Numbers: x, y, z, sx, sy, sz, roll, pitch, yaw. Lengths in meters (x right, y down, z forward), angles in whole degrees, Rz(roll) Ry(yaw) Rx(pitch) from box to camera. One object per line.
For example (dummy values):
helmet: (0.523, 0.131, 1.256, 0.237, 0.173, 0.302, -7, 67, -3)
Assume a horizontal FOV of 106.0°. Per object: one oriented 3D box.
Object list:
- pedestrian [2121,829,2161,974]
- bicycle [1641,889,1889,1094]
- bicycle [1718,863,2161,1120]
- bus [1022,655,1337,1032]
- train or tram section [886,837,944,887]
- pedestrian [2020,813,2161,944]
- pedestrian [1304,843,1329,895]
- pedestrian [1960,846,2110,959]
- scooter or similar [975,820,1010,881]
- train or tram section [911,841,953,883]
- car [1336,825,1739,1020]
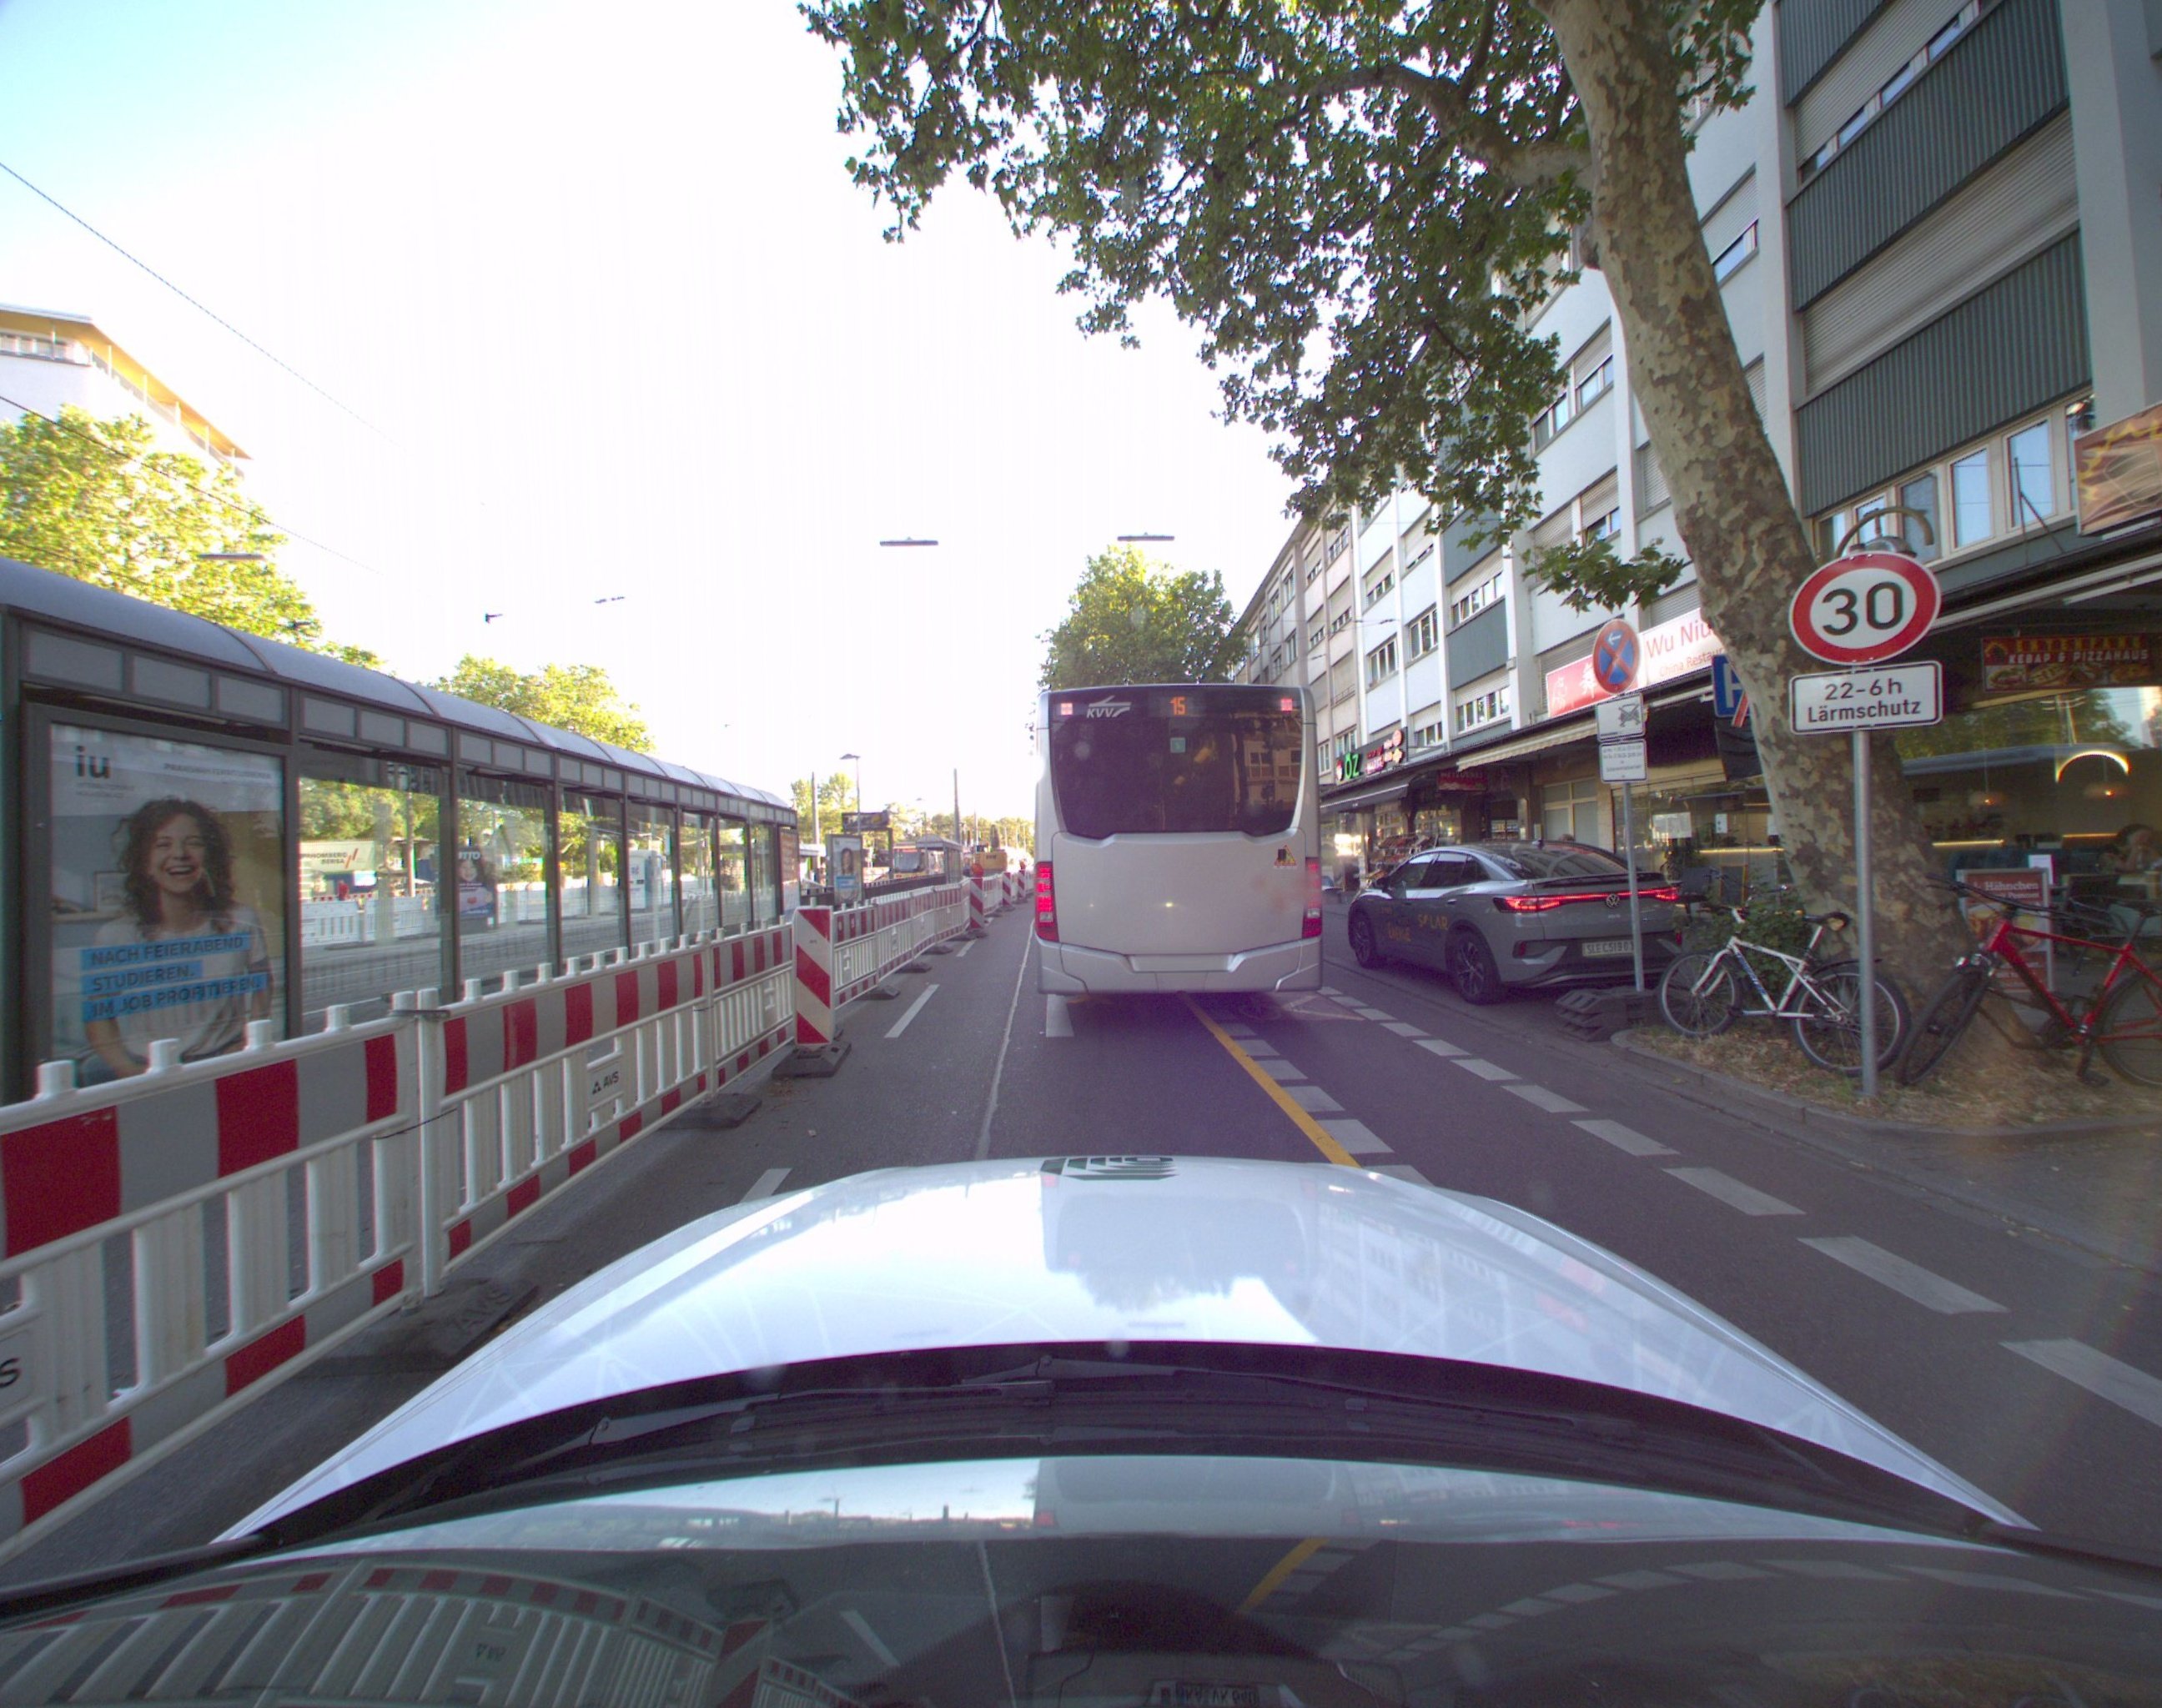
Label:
pedestrian: (9.588, 0.399, 6.916, 0.555, 1.245, 0.692, -4, 0, 8)
bicycle: (4.564, 0.852, 5.570, 0.550, 1.155, 1.446, -2, -1, 6)
bicycle: (5.045, 0.734, 4.428, 2.370, 1.155, 0.557, -7, -2, 14)
bus: (0.950, -0.049, 10.776, 2.601, 3.126, 7.996, 0, -1, 2)
train or tram section: (-12.635, 0.639, 62.977, 2.680, 3.534, 11.756, 0, -1, -3)
pedestrian: (11.076, 0.253, 8.920, 0.836, 1.334, 0.963, -1, -1, -39)
pedestrian: (7.747, 0.494, 26.804, 0.658, 1.667, 0.603, -4, -1, 18)
pedestrian: (9.854, 0.477, 8.431, 0.643, 1.081, 0.945, -1, -1, -39)
scooter or similar: (-6.948, -0.226, 64.406, 2.465, 4.471, 5.961, -2, -1, -5)
train or tram section: (-13.490, 0.720, 74.533, 2.682, 3.558, 11.559, 0, -1, -5)
car: (4.740, 0.602, 9.396, 1.989, 1.582, 4.364, -4, 0, -3)
